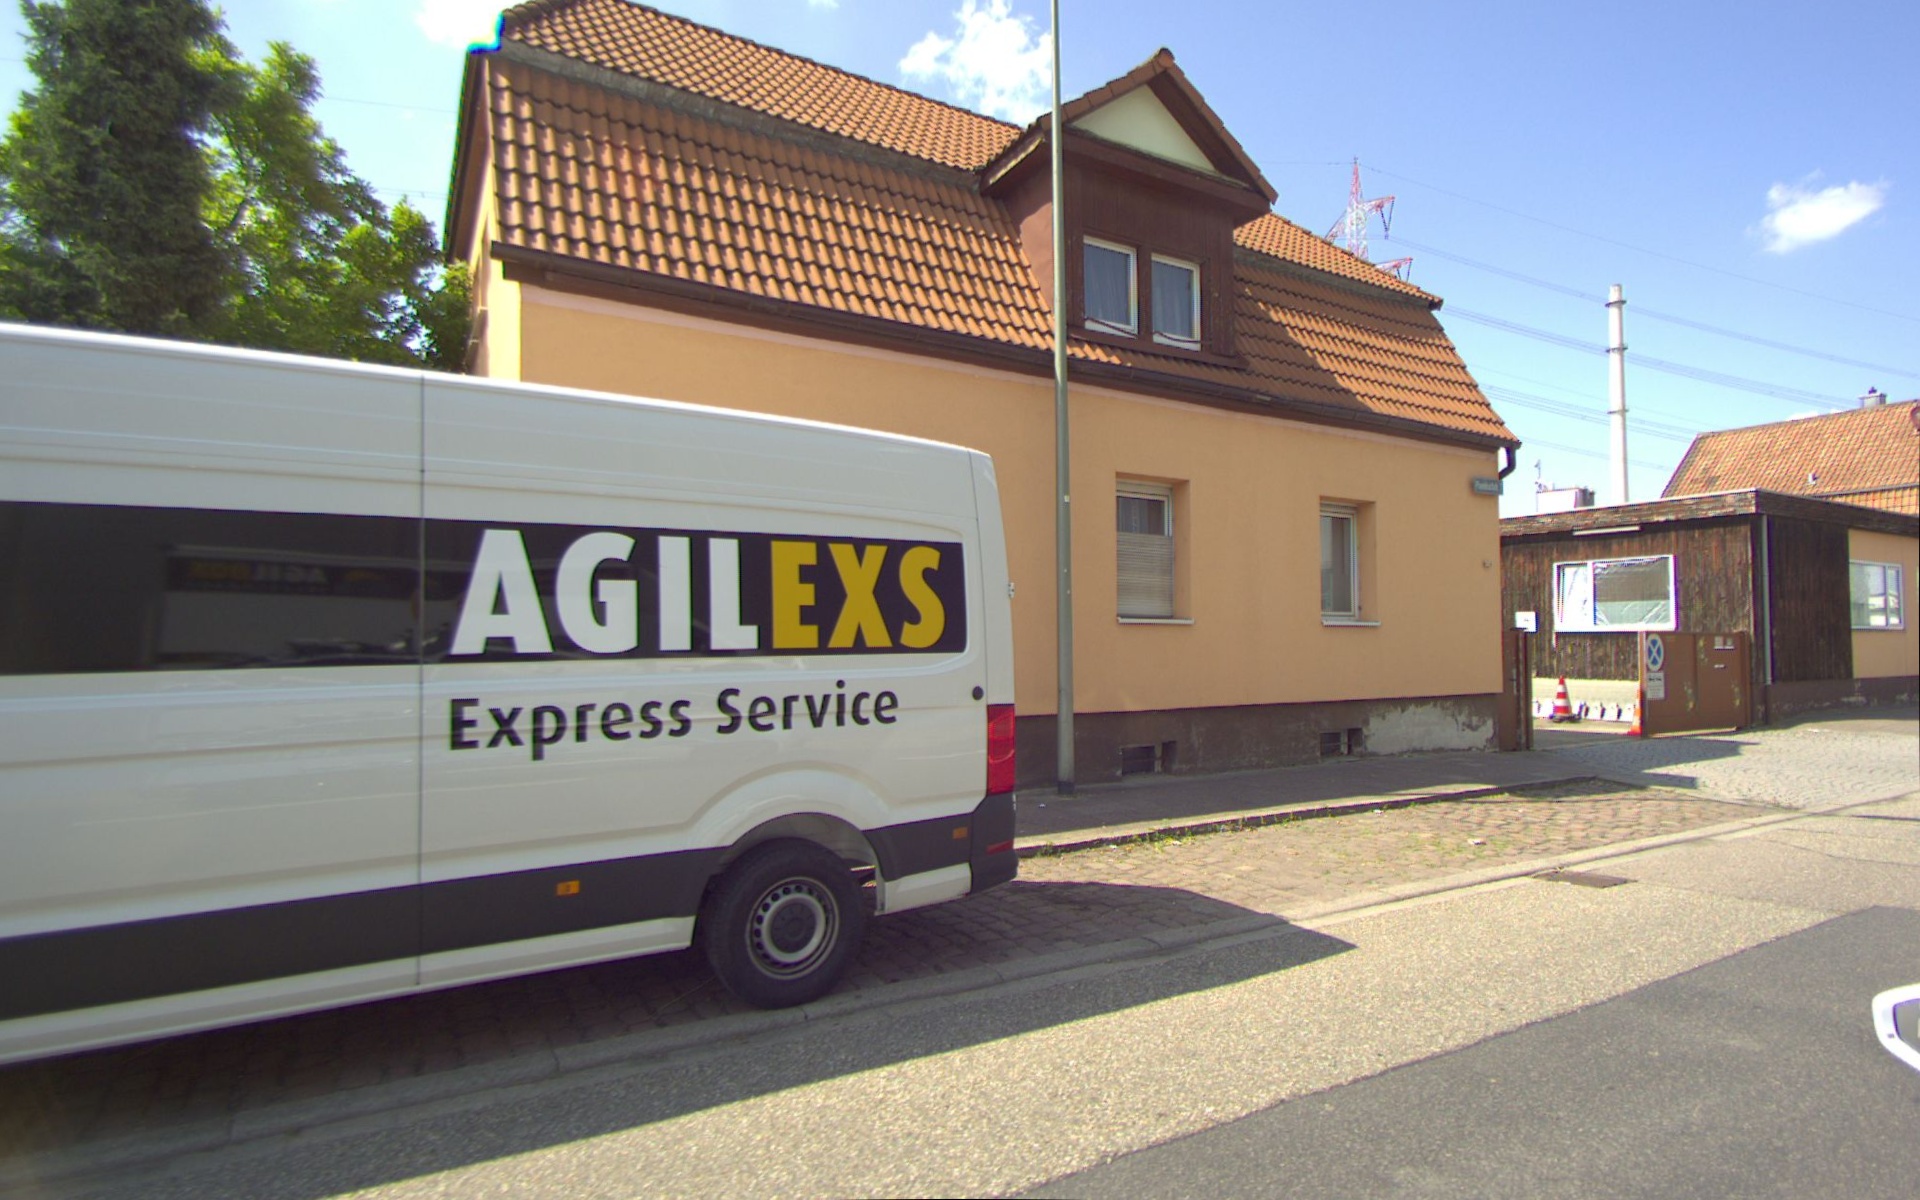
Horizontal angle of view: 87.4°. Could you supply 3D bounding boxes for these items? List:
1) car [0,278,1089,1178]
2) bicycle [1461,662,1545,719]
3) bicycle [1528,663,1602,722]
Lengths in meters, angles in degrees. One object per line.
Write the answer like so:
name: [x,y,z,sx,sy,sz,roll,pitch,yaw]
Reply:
car: [-2.765,0.392,4.089,6.763,2.595,2.016,2,-1,-32]
bicycle: [11.053,1.820,20.425,2.031,0.968,0.625,-1,0,-34]
bicycle: [11.769,1.771,19.513,1.956,0.968,0.623,-1,0,-40]
